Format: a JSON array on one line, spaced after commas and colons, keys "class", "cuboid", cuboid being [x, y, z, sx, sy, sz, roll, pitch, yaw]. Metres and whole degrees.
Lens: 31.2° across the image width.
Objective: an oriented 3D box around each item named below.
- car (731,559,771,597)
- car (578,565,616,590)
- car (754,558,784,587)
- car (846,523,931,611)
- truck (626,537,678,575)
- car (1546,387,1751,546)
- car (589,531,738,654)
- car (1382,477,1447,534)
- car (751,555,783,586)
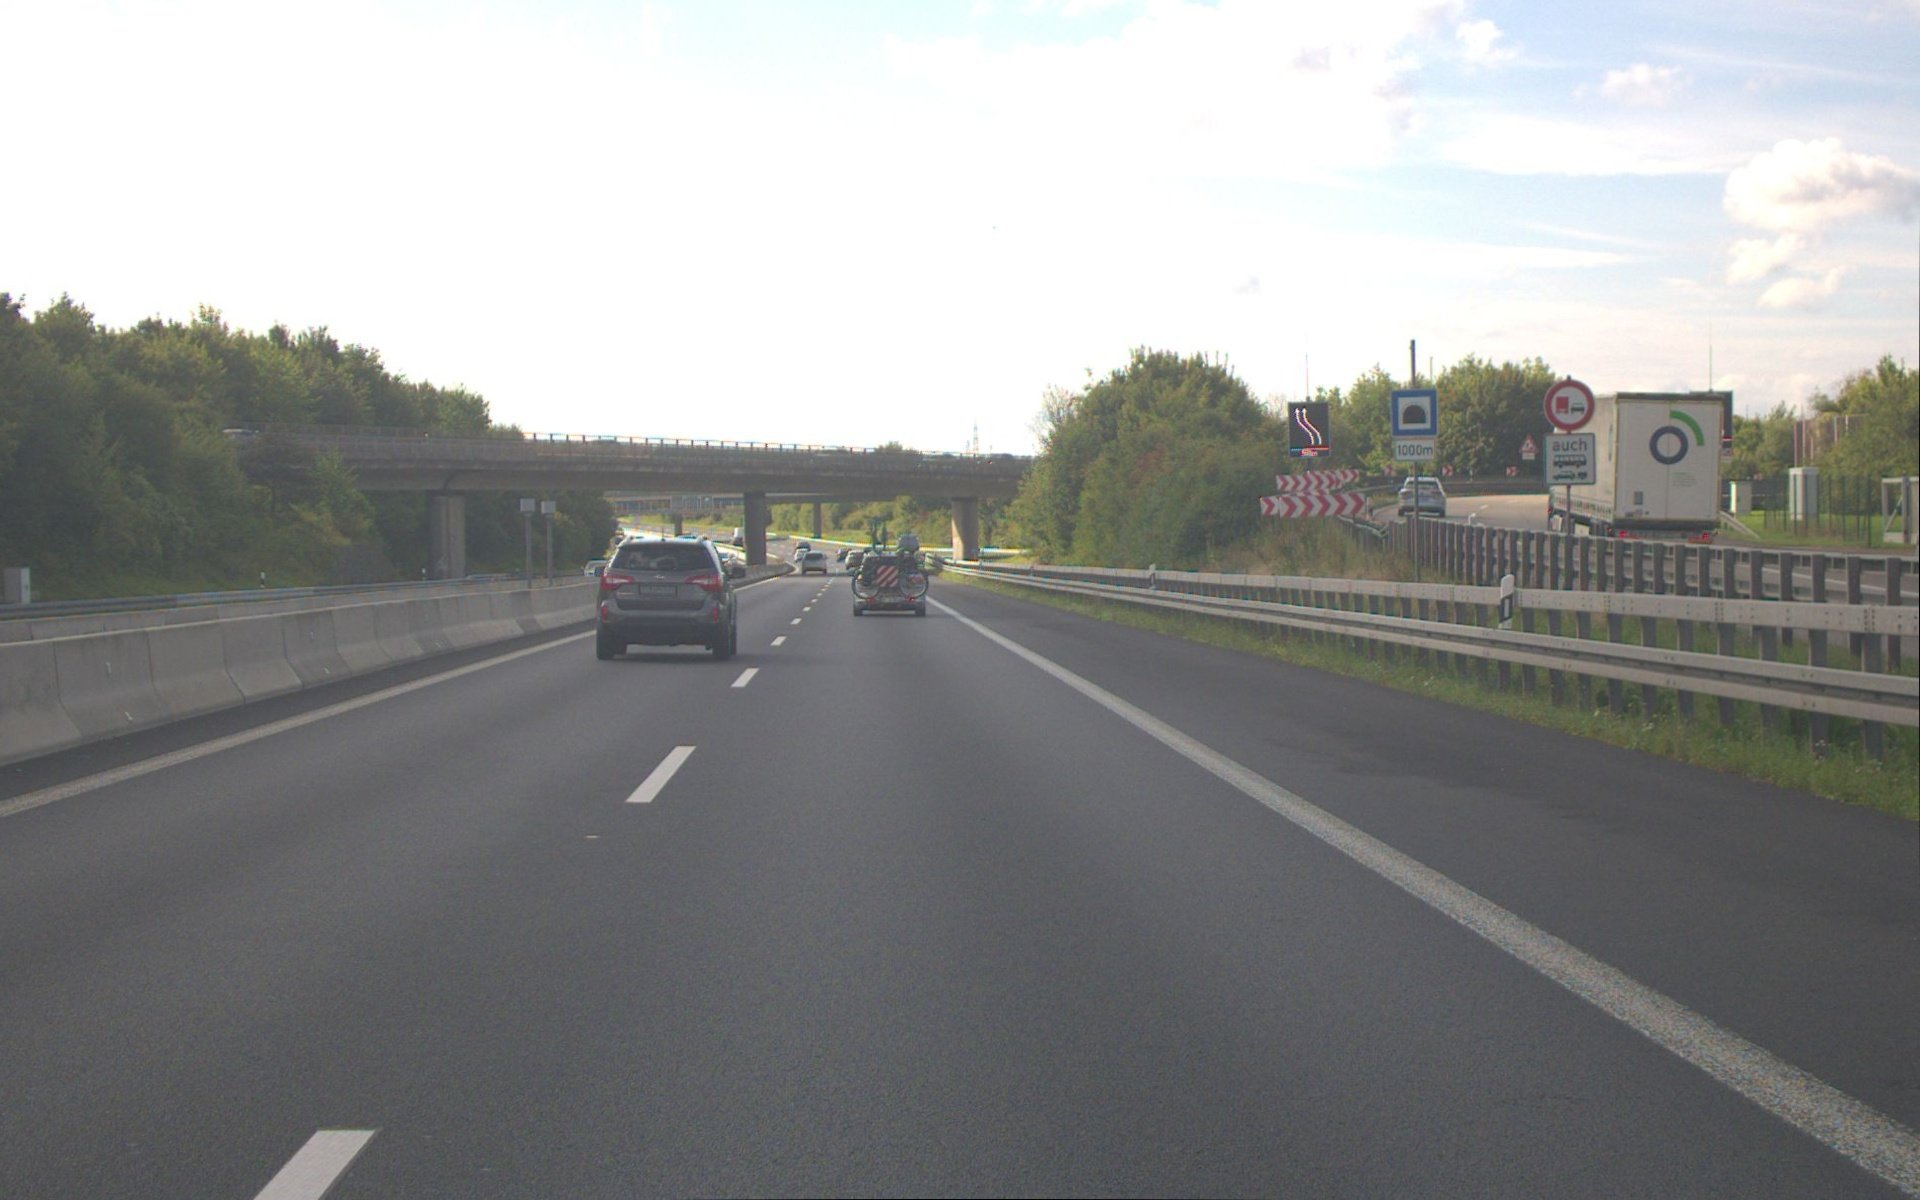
[{"class": "car", "cuboid": [-11.496, -1.225, 189.298, 1.993, 2.007, 4.000, -2, 1, -2]}, {"class": "car", "cuboid": [-22.528, -1.402, 213.405, 1.993, 1.431, 4.725, -2, 1, -2]}, {"class": "car", "cuboid": [-13.930, -2.005, 251.032, 1.993, 2.007, 4.000, -2, 1, -2]}, {"class": "car", "cuboid": [-1.774, -0.819, 84.680, 1.993, 2.073, 4.000, -2, 1, -1]}, {"class": "truck", "cuboid": [-17.129, -2.449, 191.334, 2.376, 2.007, 7.437, -2, 1, -2]}, {"class": "car", "cuboid": [17.089, -3.254, 85.891, 3.576, 3.664, 7.549, -2, 1, 0]}, {"class": "car", "cuboid": [-4.153, -0.122, 48.594, 1.750, 1.624, 3.609, -2, 1, 0]}, {"class": "car", "cuboid": [16.760, -3.476, 126.964, 1.994, 2.007, 4.000, -2, 1, 3]}, {"class": "car", "cuboid": [-12.874, -1.978, 229.877, 1.993, 2.007, 4.000, -2, 1, -2]}]
